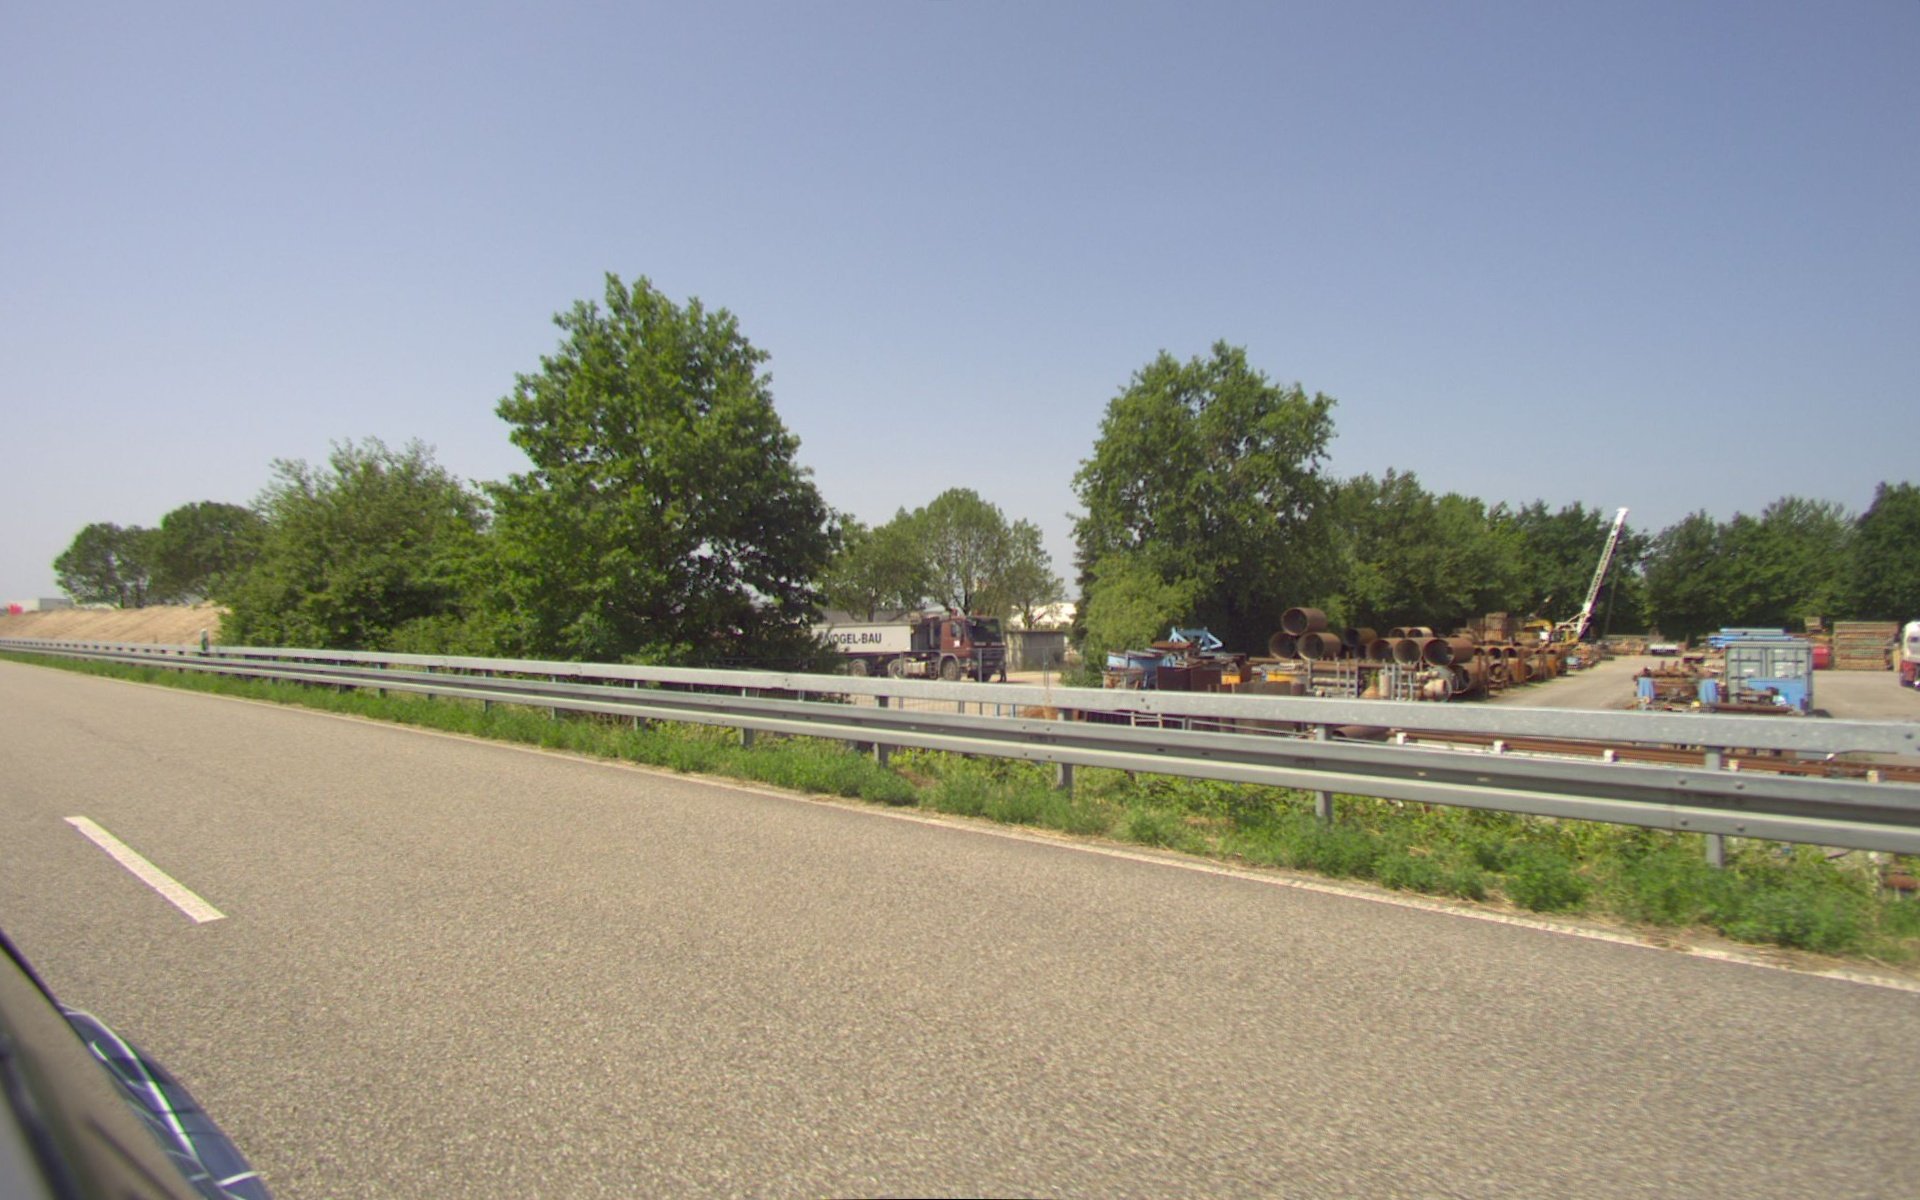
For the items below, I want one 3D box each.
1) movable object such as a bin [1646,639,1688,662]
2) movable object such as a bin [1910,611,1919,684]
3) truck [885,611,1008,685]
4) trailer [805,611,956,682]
[{"bbox_3d":[64.359,4.619,92.138,2.945,2.029,1.366,-2,-5,44],"label":"movable object such as a bin"},{"bbox_3d":[47.162,2.224,47.585,3.187,3.406,7.046,-1,-1,40],"label":"movable object such as a bin"},{"bbox_3d":[-0.725,2.185,48.133,2.411,3.248,5.887,-1,0,-45],"label":"truck"},{"bbox_3d":[-4.211,2.249,51.568,8.811,3.248,2.412,-1,0,44],"label":"trailer"}]
